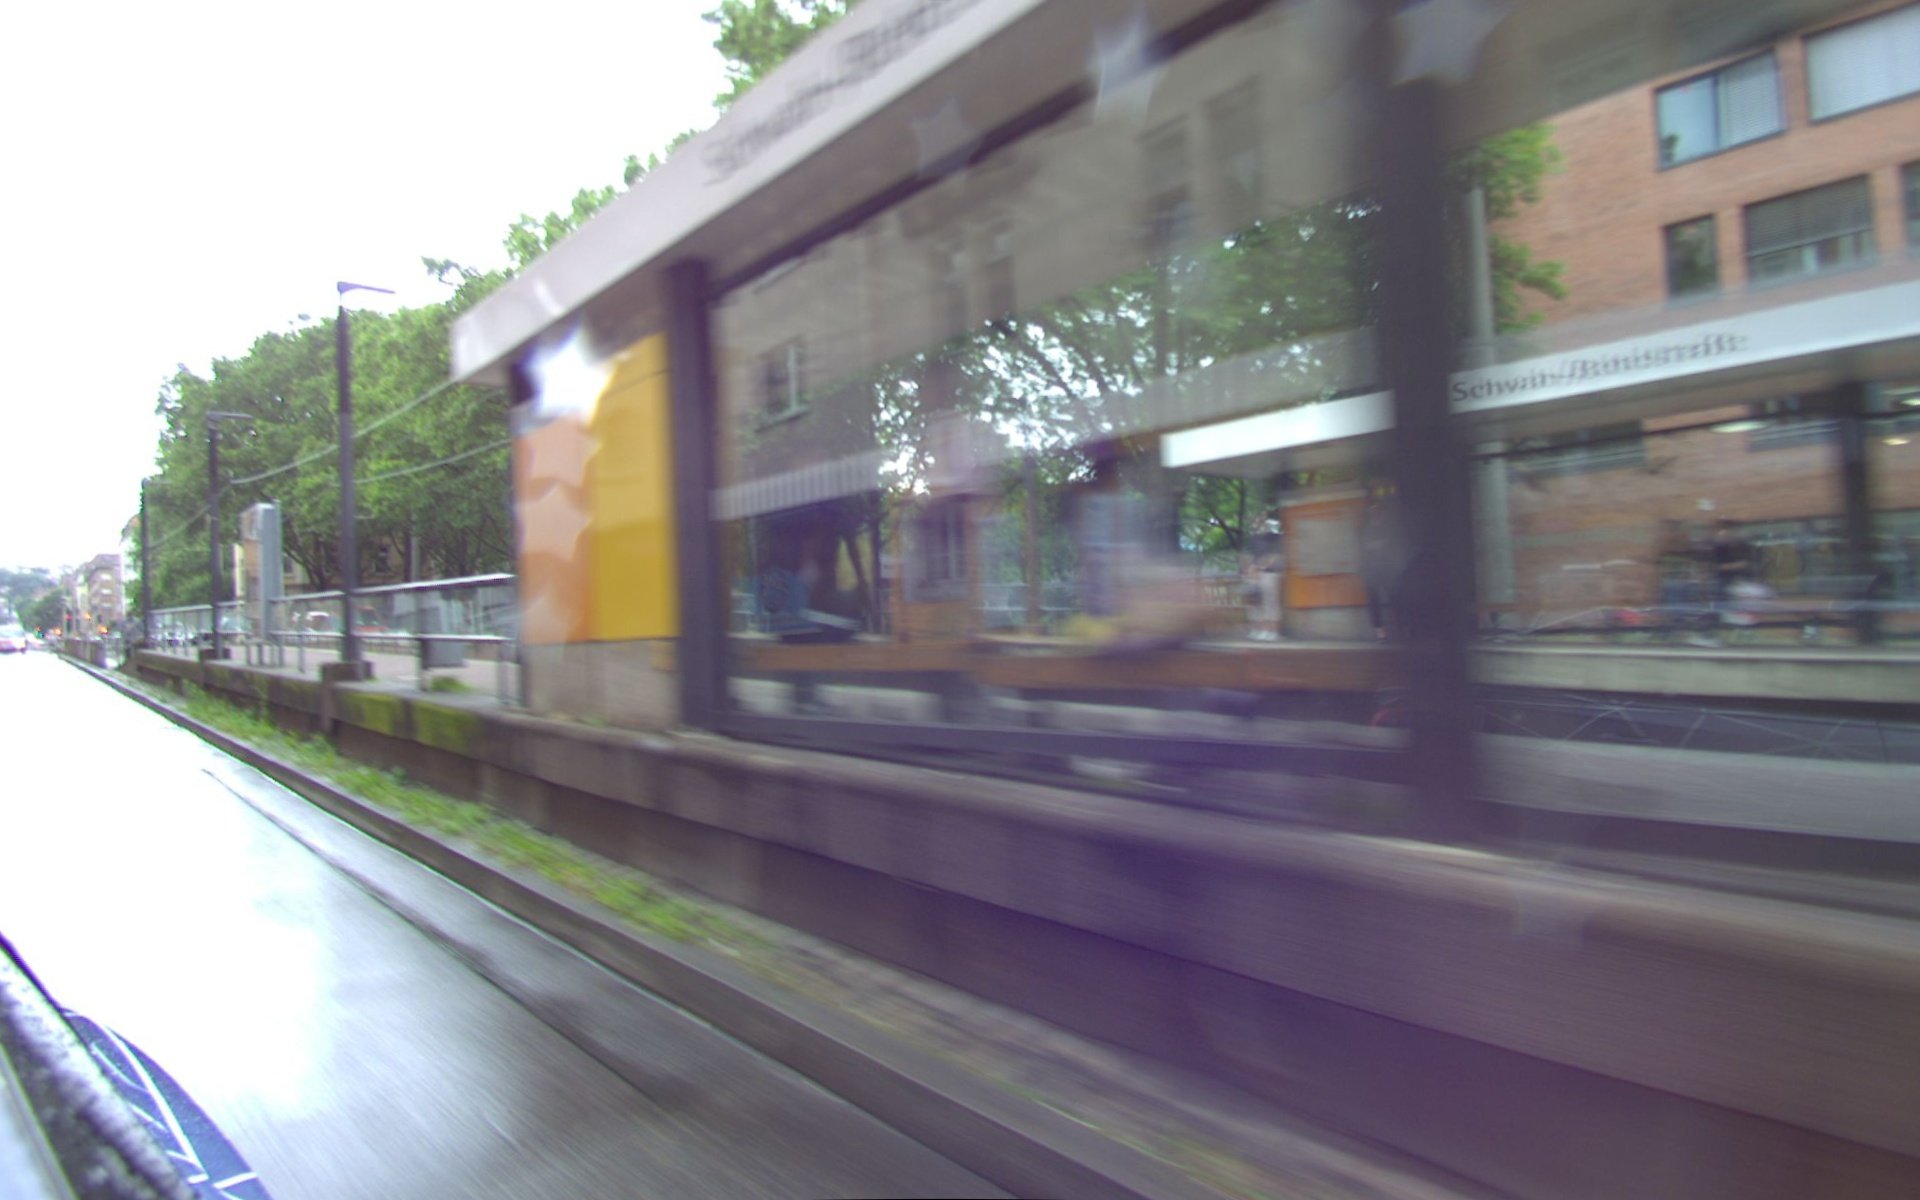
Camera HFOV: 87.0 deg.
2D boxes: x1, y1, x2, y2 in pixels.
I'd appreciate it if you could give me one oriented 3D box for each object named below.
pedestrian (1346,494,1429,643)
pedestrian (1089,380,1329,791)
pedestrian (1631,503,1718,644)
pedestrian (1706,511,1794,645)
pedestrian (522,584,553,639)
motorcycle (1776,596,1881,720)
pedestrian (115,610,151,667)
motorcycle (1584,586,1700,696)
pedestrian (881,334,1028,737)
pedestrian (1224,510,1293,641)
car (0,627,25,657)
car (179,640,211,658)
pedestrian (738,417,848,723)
[{"bbox_3d":[5.146,-0.357,12.201,0.706,1.728,0.556,-3,-2,45],"label":"pedestrian"},{"bbox_3d":[0.843,-0.041,3.430,0.606,1.236,0.508,0,-2,-40],"label":"pedestrian"},{"bbox_3d":[7.296,-0.258,10.330,0.564,1.373,0.768,-3,-2,44],"label":"pedestrian"},{"bbox_3d":[7.709,-0.203,9.875,0.564,1.250,0.695,-3,-2,44],"label":"pedestrian"},{"bbox_3d":[-13.206,0.369,31.625,0.650,1.676,0.688,-1,-3,-44],"label":"pedestrian"},{"bbox_3d":[14.356,0.860,16.666,1.007,1.829,3.820,-2,-1,45],"label":"motorcycle"},{"bbox_3d":[-26.949,1.260,32.982,0.849,1.813,0.788,0,-2,-44],"label":"pedestrian"},{"bbox_3d":[12.341,0.669,18.236,1.007,1.787,3.820,-2,-1,45],"label":"motorcycle"},{"bbox_3d":[-0.040,-0.256,4.318,0.499,1.601,0.529,-1,-1,-12],"label":"pedestrian"},{"bbox_3d":[3.907,-0.304,13.256,0.564,1.654,0.678,-3,-2,44],"label":"pedestrian"},{"bbox_3d":[-53.334,2.369,56.466,1.598,1.614,4.069,1,-4,-44],"label":"car"},{"bbox_3d":[-67.887,4.353,89.757,1.864,1.488,3.811,-1,-1,-43],"label":"car"},{"bbox_3d":[-0.931,-0.155,5.638,0.450,1.617,0.405,-2,-2,41],"label":"pedestrian"}]
